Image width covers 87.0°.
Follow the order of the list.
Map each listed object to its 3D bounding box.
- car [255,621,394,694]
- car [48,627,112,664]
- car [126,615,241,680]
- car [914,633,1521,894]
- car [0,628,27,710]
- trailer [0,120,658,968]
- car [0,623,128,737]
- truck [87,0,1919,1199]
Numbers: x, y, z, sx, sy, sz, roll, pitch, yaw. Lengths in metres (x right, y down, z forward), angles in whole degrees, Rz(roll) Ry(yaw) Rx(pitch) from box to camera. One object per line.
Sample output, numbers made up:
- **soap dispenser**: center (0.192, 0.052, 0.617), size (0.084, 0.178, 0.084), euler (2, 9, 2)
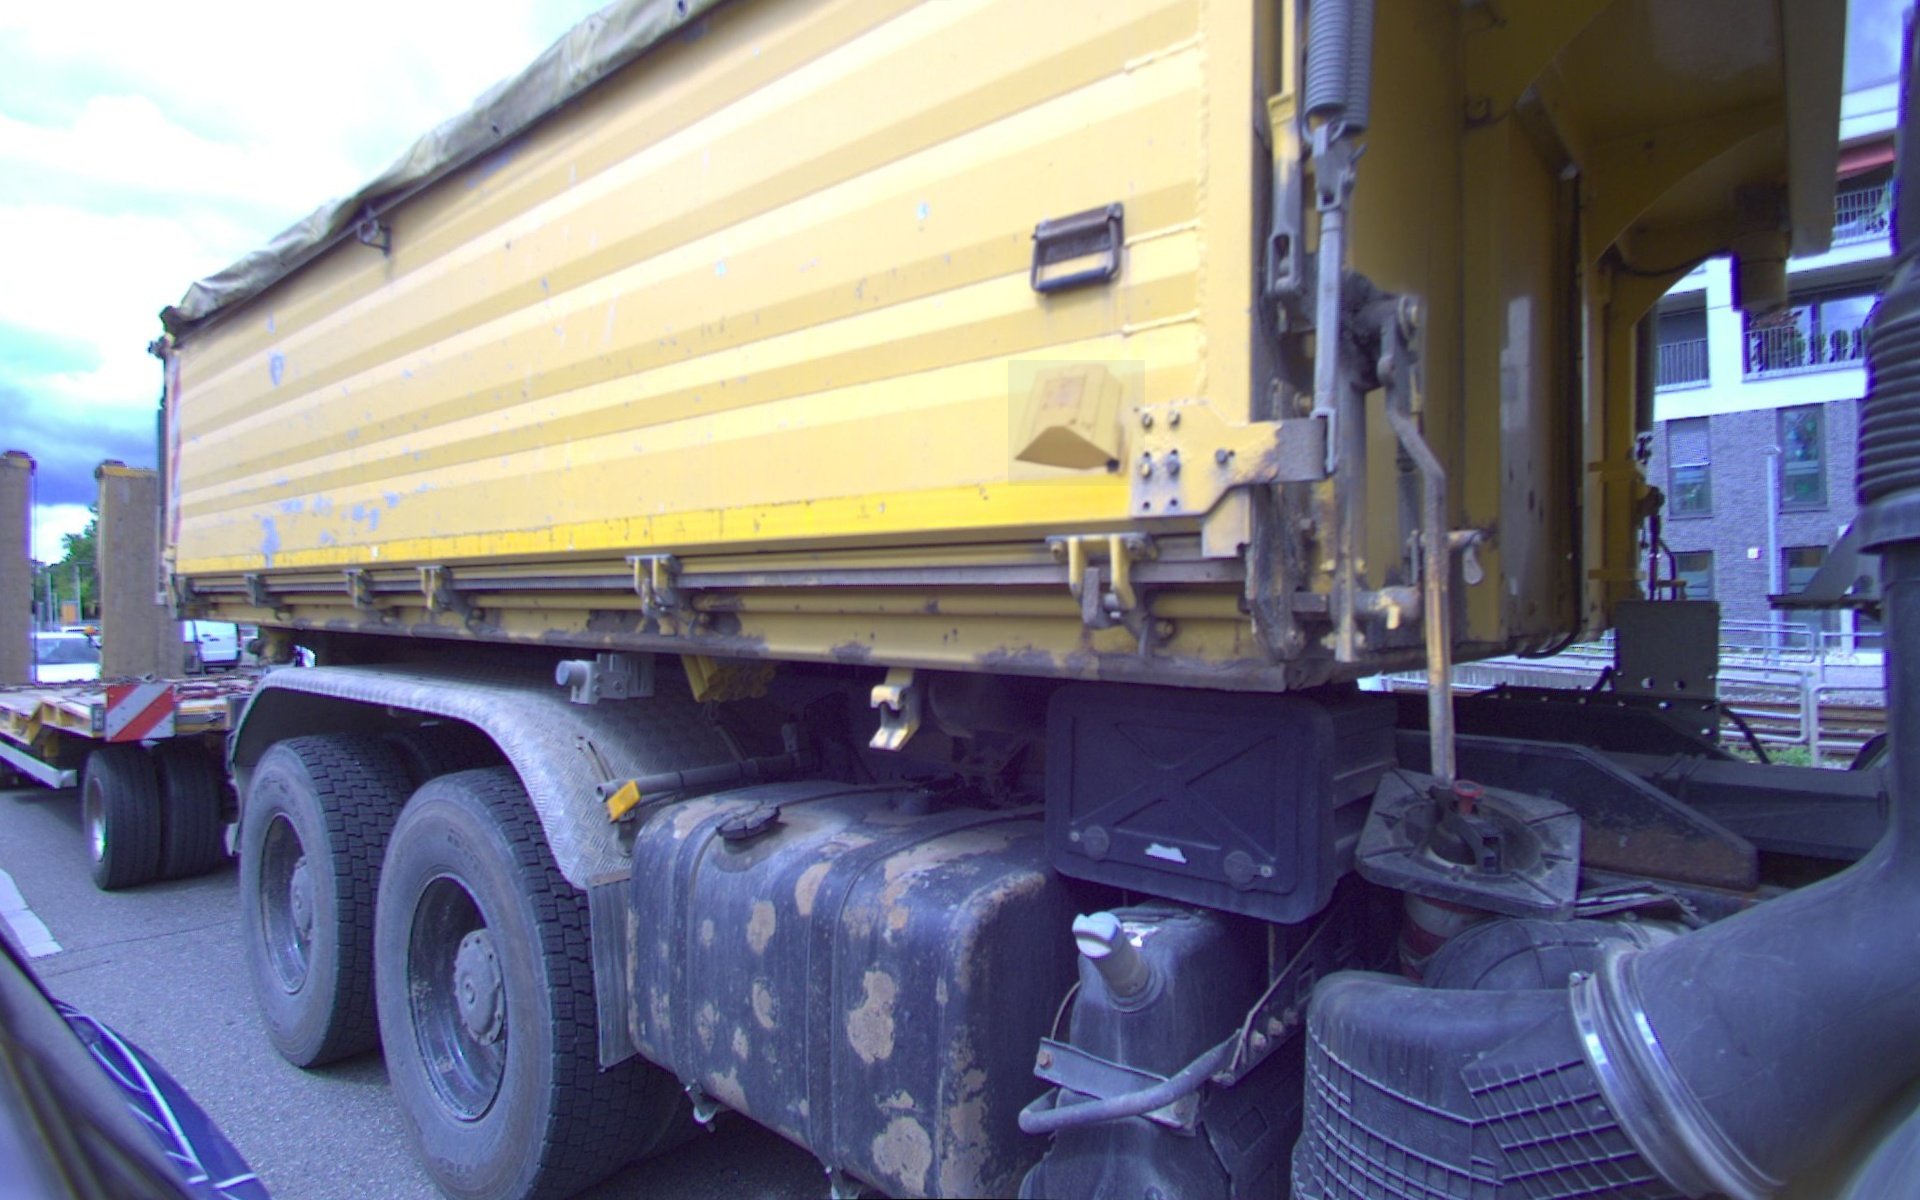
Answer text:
- **car**: center (-14.222, 1.241, 22.602), size (3.564, 1.469, 1.683), euler (-2, -1, 41)
- **car**: center (-38.003, 1.942, 43.668), size (3.552, 1.509, 1.623), euler (-2, -1, 41)
- **car**: center (-23.523, 1.399, 30.591), size (4.861, 1.785, 1.863), euler (-2, -1, 41)
- **car**: center (1.783, 1.015, 7.922), size (4.277, 1.452, 1.743), euler (-2, -1, 42)
- **car**: center (-19.636, 1.323, 19.752), size (3.998, 1.490, 1.671), euler (-1, 0, 41)
- **trailer**: center (-6.863, -0.139, 8.854), size (10.909, 3.548, 2.678), euler (-2, -1, 41)
- **car**: center (-14.167, 1.130, 15.428), size (3.998, 1.490, 1.671), euler (-1, 0, 41)
- **truck**: center (0.154, -0.036, 2.686), size (7.775, 3.026, 2.692), euler (-1, 0, 41)
